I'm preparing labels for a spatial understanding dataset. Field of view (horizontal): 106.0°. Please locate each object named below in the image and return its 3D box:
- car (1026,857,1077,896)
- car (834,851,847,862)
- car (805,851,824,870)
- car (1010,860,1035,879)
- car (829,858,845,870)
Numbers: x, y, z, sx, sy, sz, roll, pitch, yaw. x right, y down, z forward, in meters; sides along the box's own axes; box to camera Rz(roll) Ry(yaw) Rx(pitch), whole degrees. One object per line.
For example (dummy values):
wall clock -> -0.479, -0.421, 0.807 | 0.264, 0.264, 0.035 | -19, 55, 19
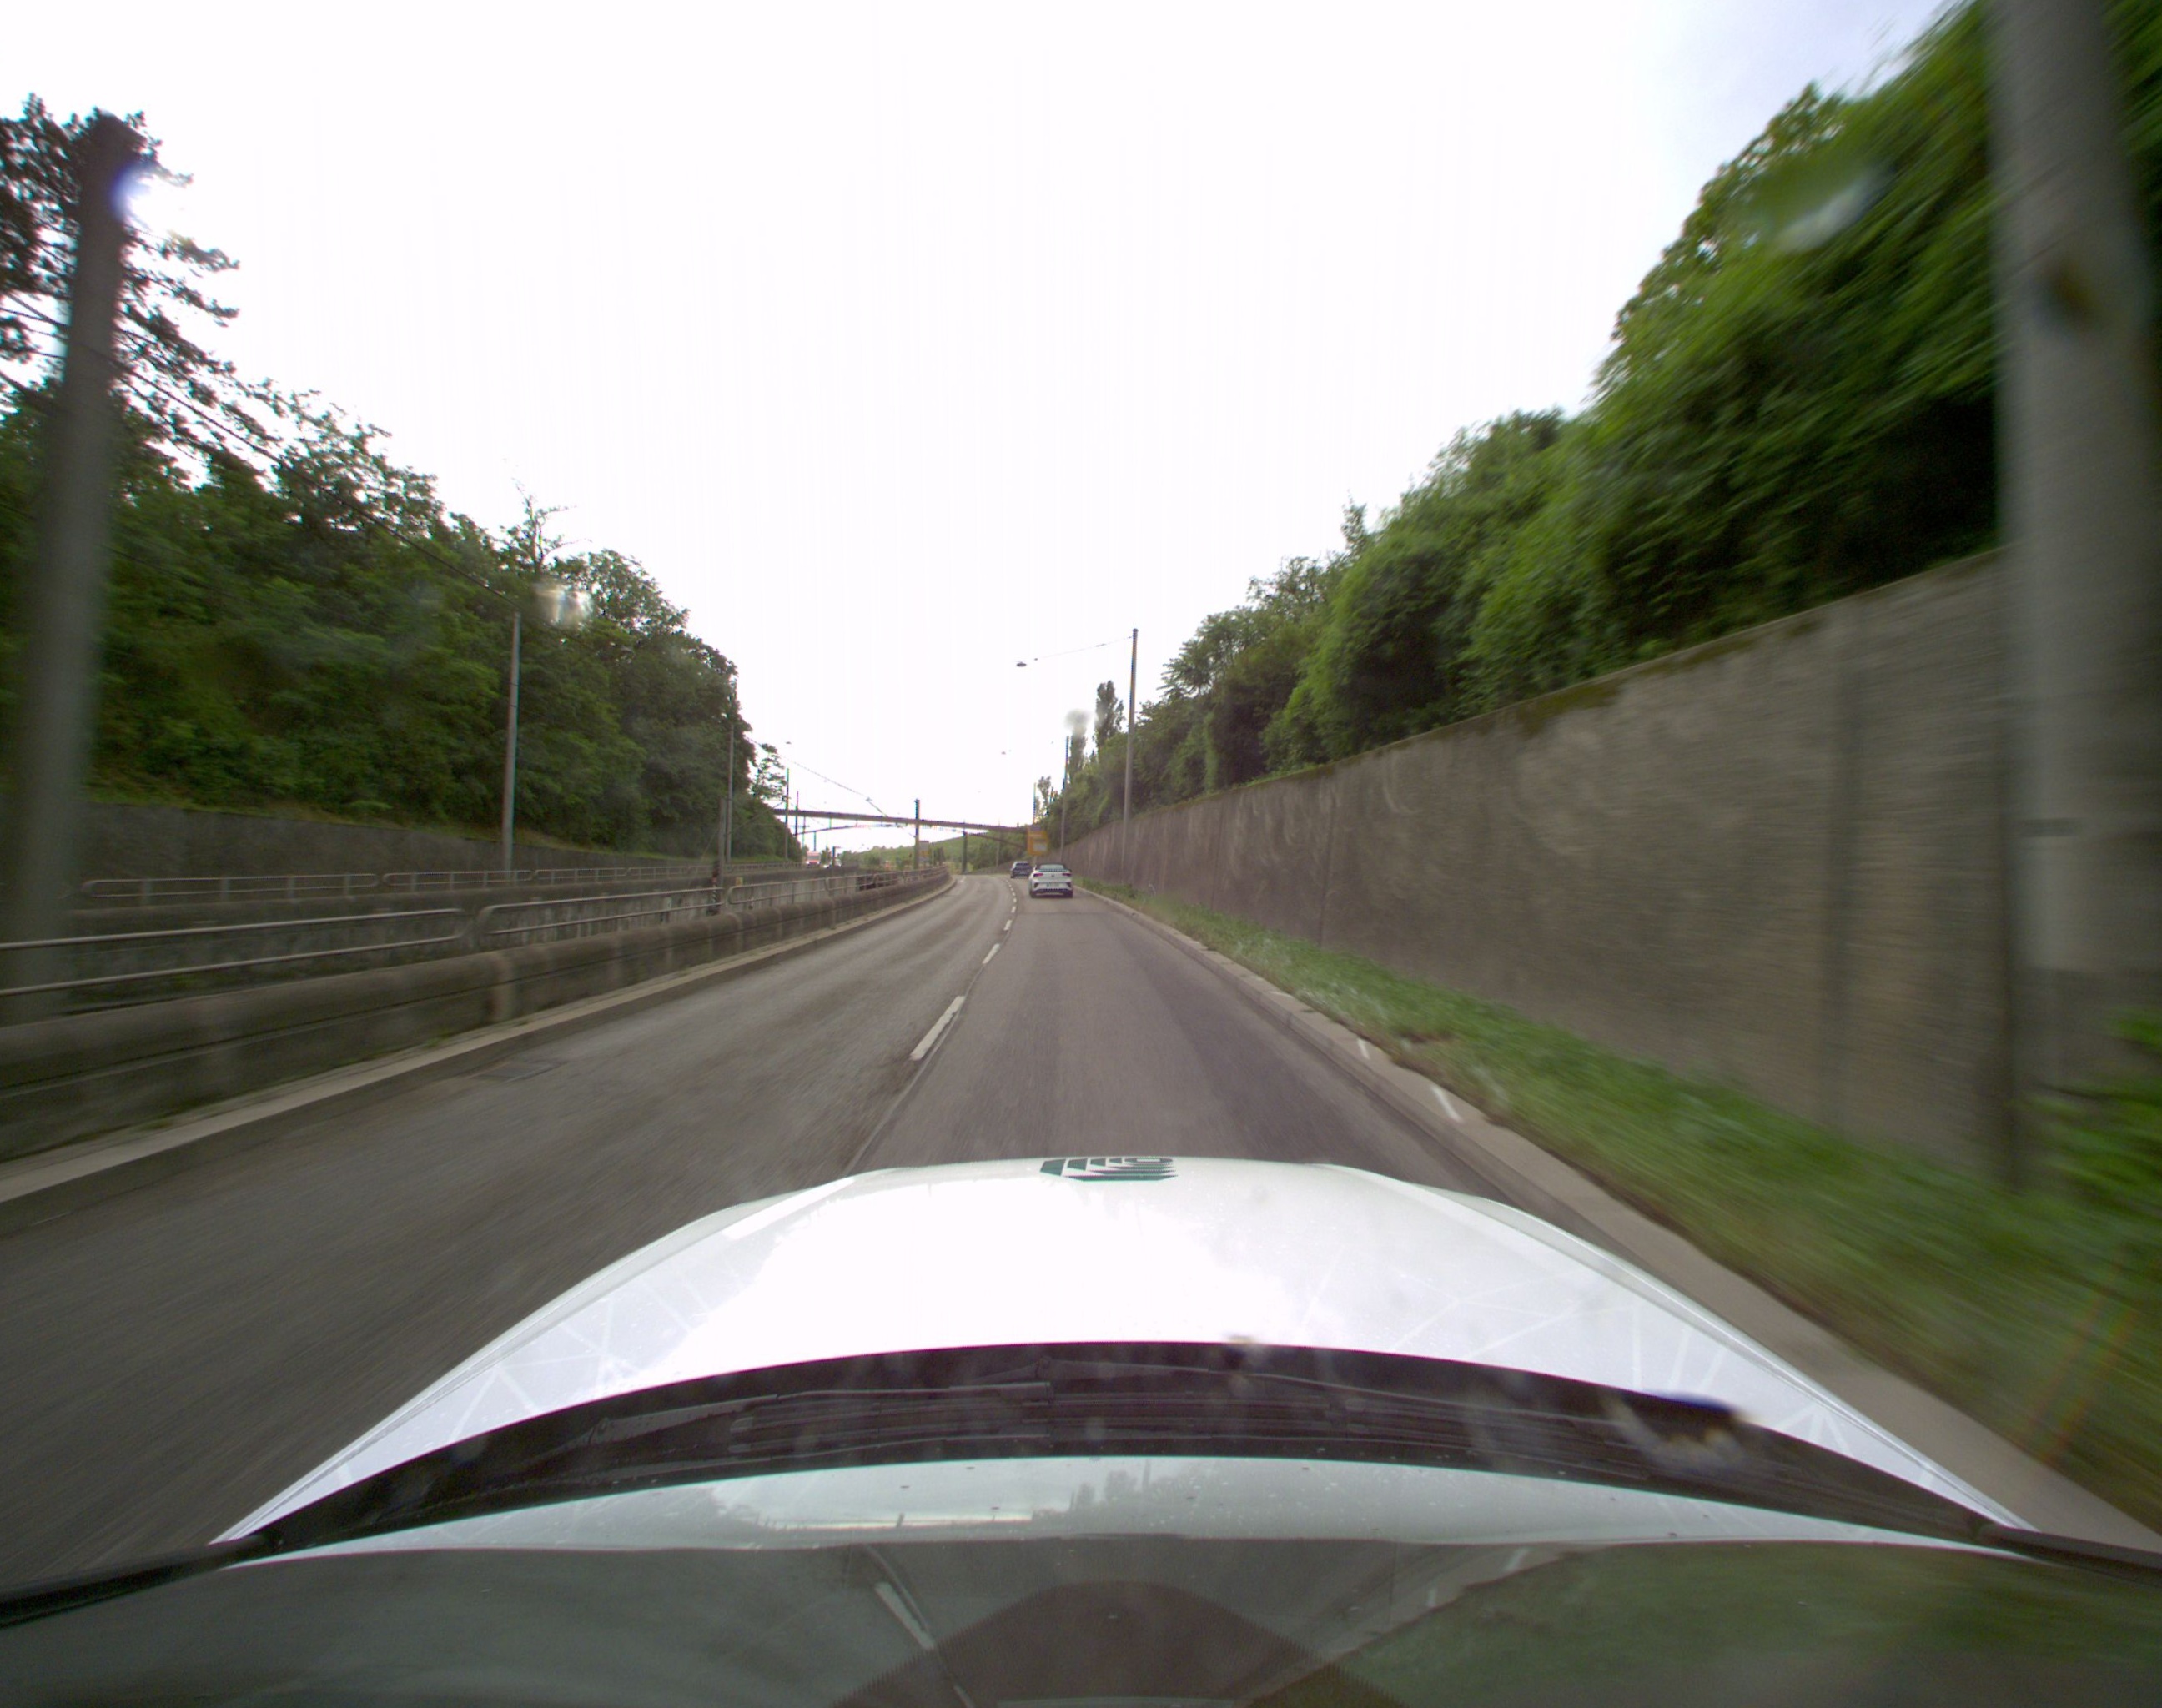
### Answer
car -> -1.329, 0.937, 35.378 | 1.993, 1.578, 4.118 | -1, 0, -5
car -> -40.709, 0.367, 137.976 | 1.964, 1.750, 4.120 | -1, -1, -15
car -> -39.385, 0.935, 120.478 | 2.185, 2.734, 6.316 | -1, -1, -13
car -> -5.077, 1.349, 70.846 | 1.920, 1.599, 4.060 | -1, 0, -1
car -> -34.708, 1.441, 115.892 | 1.819, 1.704, 4.092 | -1, -1, -13
